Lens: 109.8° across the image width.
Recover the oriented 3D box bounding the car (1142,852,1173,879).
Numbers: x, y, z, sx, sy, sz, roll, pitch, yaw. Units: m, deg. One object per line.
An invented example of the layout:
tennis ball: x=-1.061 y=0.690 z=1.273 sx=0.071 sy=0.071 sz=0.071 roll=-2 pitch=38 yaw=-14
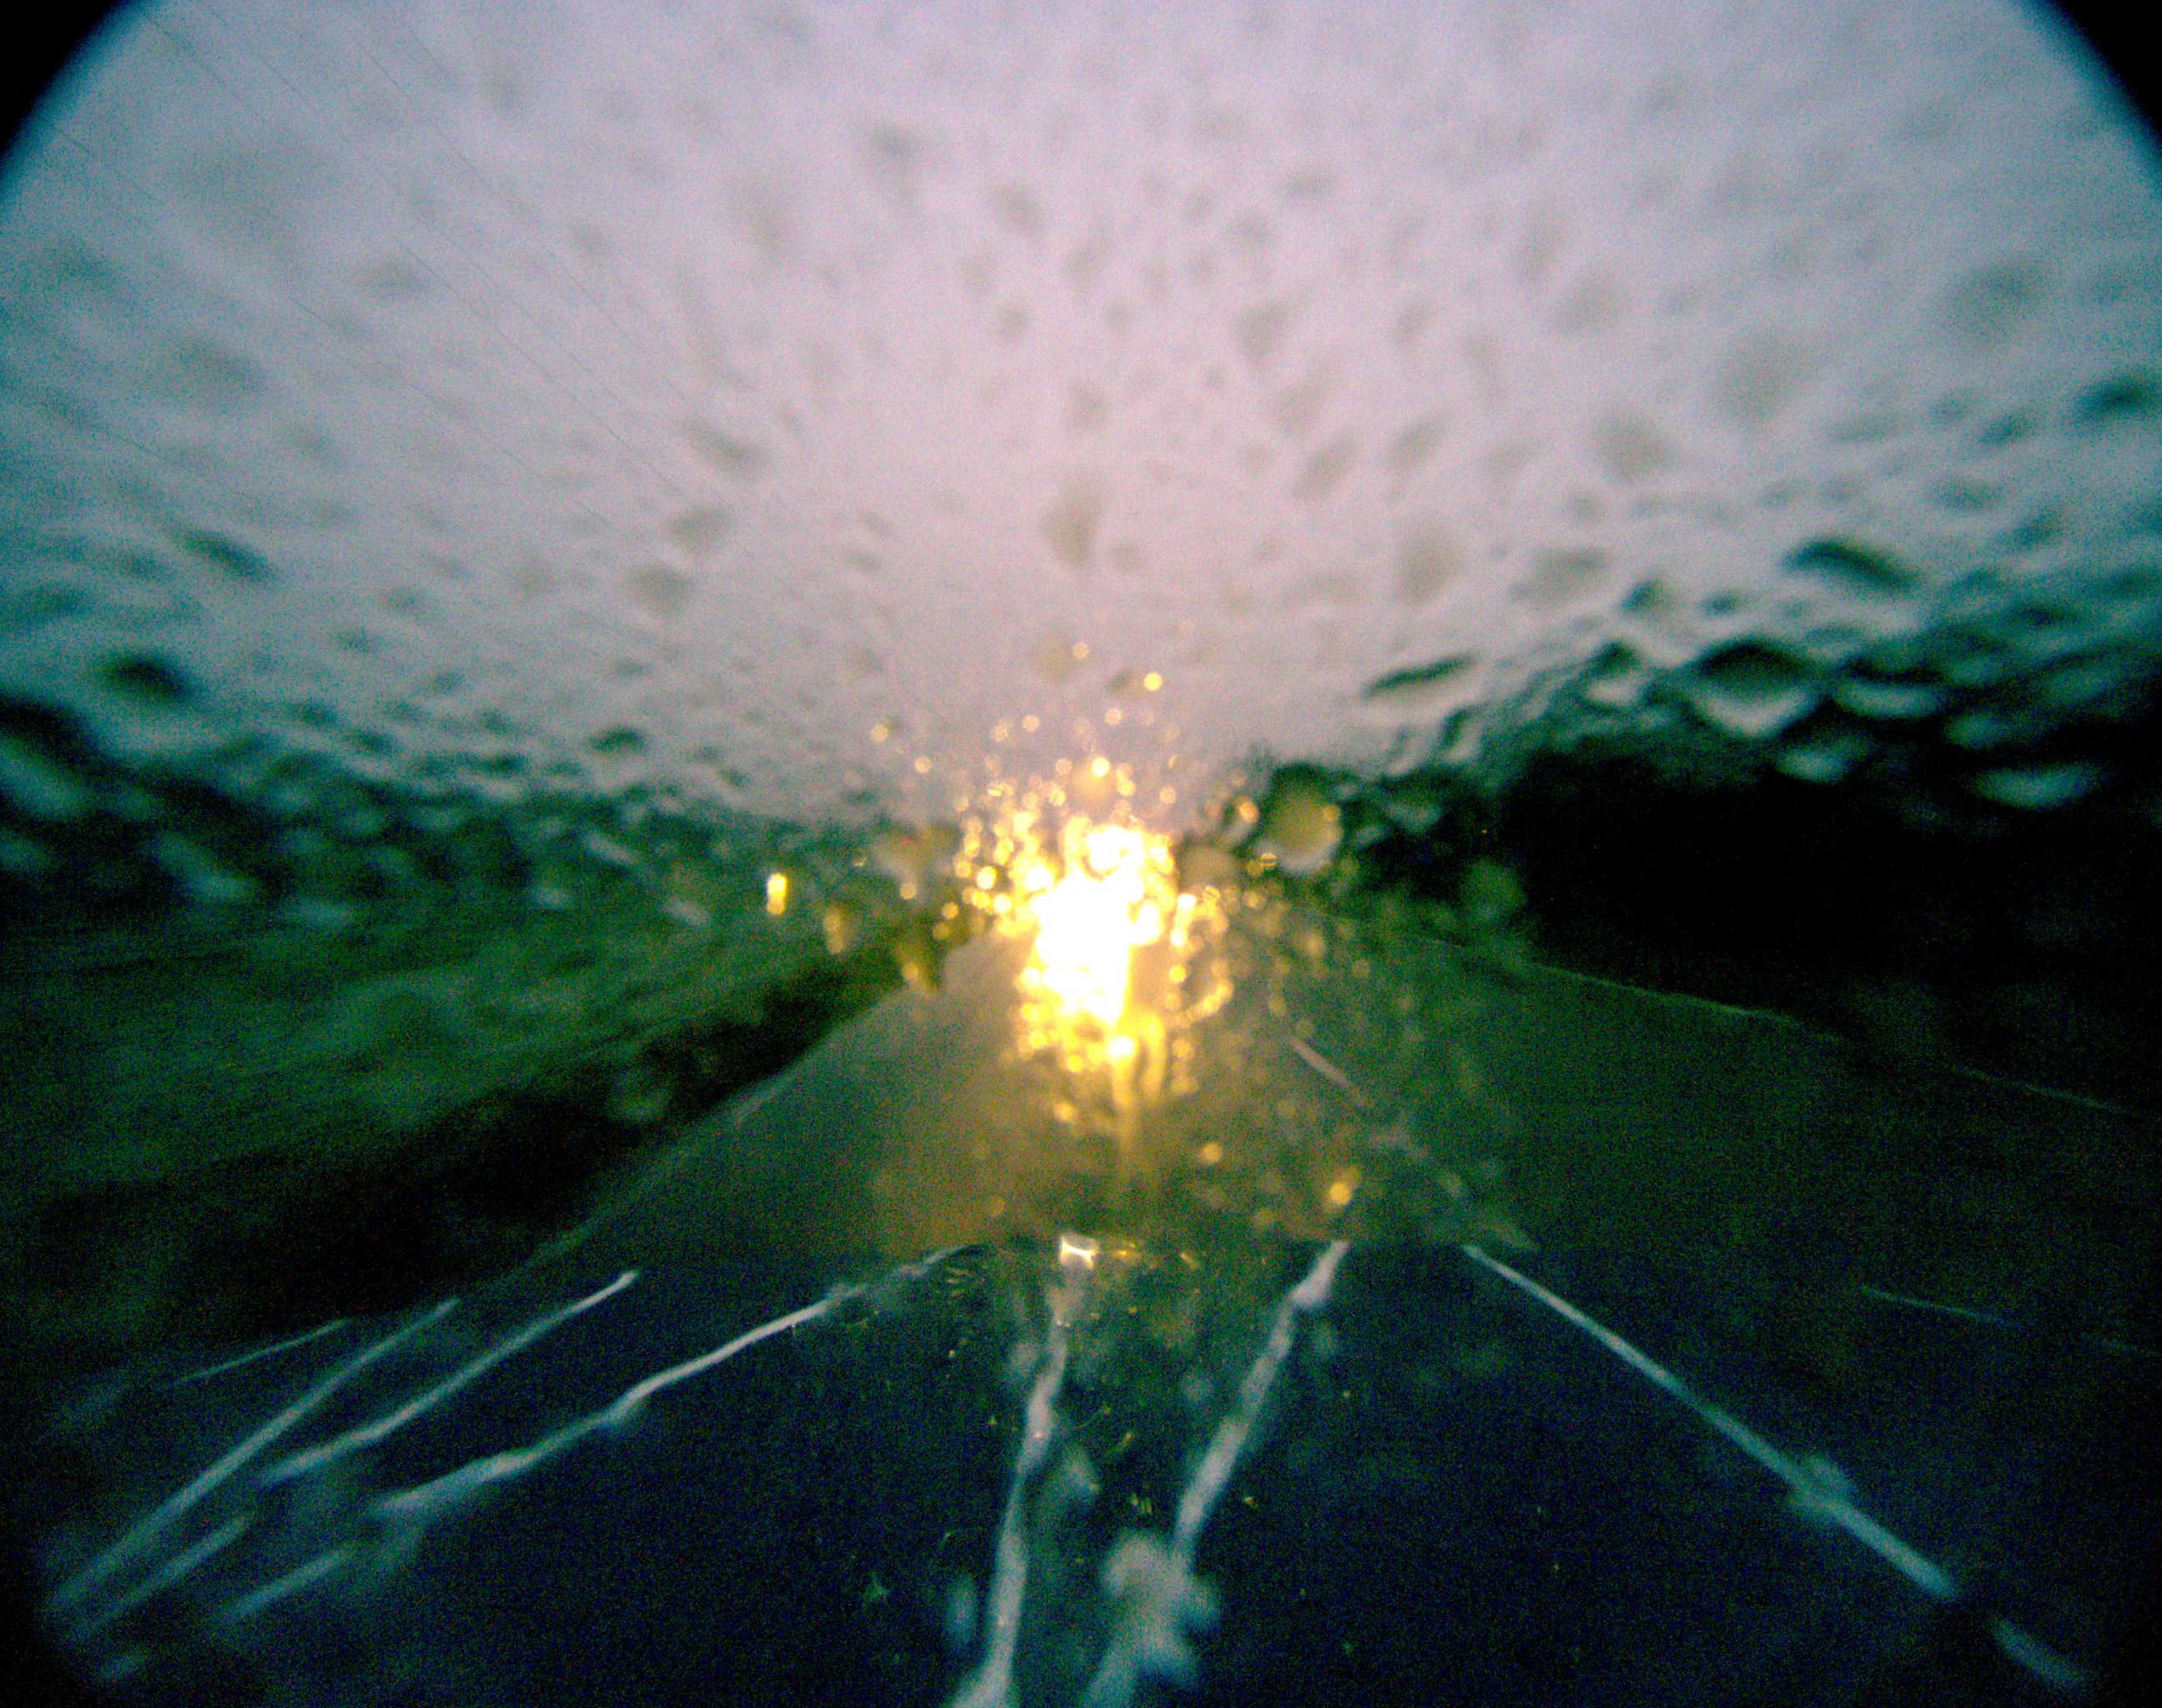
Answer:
car: x=5.163 y=0.733 z=51.546 sx=1.790 sy=1.740 sz=4.258 roll=-1 pitch=0 yaw=2

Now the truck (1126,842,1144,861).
truck: x=7.378 y=-0.304 z=104.166 sx=2.244 sy=2.453 sz=5.374 roll=-2 pitch=0 yaw=2

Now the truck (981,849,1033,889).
truck: x=-5.241 y=0.960 z=55.820 sx=2.510 sy=2.556 sz=10.805 roll=-2 pitch=0 yaw=1

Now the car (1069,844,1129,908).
car: x=0.693 y=0.705 z=26.654 sx=1.856 sy=2.002 sz=4.000 roll=-2 pitch=0 yaw=3
